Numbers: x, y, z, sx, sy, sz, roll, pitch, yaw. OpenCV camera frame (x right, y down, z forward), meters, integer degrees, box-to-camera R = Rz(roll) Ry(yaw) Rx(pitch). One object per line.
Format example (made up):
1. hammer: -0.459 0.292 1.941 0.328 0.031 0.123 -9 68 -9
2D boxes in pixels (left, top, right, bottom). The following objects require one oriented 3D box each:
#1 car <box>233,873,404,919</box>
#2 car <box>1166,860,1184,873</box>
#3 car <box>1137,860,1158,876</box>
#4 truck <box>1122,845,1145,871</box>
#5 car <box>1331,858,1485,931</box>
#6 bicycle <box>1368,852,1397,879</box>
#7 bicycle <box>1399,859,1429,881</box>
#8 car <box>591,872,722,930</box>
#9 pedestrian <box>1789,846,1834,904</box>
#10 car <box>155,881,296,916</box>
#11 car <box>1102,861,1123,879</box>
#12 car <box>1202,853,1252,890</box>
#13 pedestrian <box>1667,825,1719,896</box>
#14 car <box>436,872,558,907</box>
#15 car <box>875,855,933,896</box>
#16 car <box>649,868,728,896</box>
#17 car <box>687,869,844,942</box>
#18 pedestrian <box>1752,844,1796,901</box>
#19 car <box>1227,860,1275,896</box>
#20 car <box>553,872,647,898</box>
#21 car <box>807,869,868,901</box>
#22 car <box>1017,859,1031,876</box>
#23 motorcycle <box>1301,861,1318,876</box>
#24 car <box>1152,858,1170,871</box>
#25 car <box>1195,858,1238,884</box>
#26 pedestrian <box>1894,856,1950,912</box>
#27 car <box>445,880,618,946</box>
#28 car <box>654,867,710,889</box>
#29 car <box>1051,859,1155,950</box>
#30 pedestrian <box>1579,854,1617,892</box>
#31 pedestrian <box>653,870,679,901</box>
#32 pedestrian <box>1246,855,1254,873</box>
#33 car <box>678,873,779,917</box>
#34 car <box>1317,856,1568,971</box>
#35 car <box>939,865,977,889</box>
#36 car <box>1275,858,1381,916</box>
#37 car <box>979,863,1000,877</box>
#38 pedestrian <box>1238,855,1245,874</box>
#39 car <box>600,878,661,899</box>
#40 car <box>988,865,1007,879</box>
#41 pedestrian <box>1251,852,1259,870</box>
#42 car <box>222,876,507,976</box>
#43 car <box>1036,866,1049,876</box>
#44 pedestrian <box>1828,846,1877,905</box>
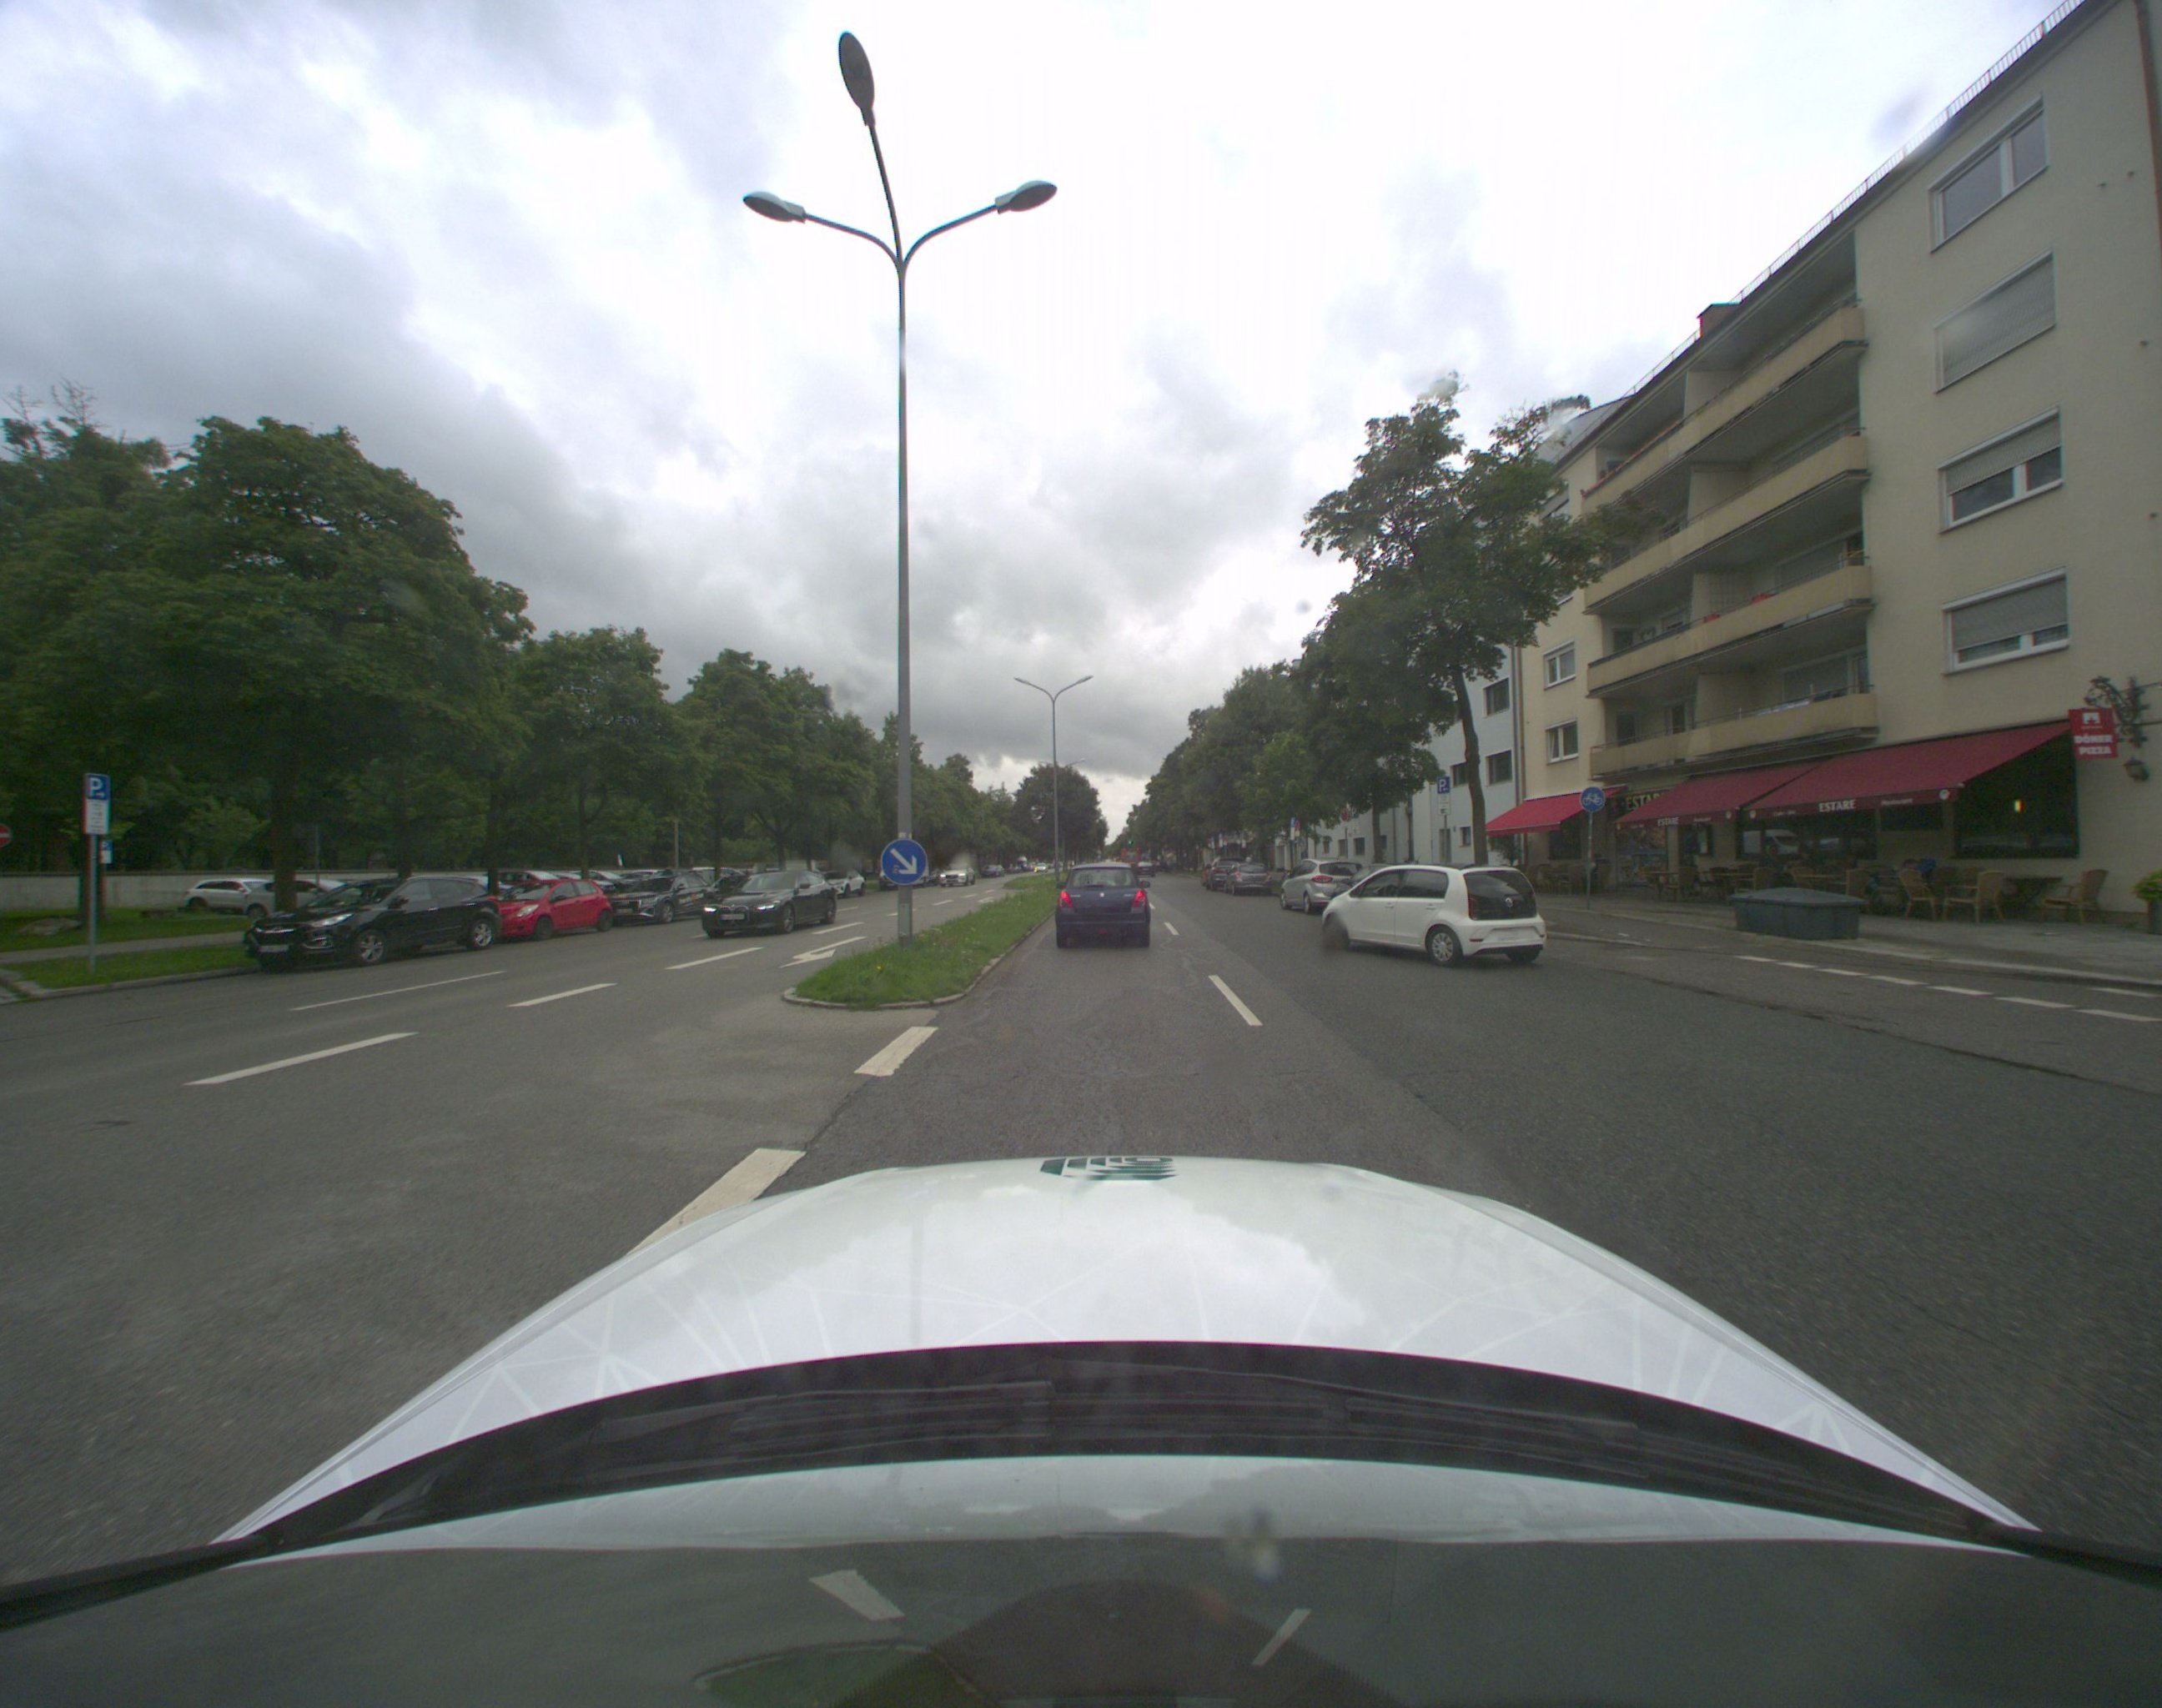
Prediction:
1. car: -26.546 1.452 28.478 3.979 1.442 1.997 -1 -1 -4
2. car: 12.588 1.616 109.440 1.986 1.643 4.335 -1 -1 2
3. car: 6.343 1.343 78.147 1.814 1.477 4.692 1 -1 2
4. truck: 7.631 0.637 119.647 3.029 3.557 13.684 -1 -1 3
5. car: 7.326 0.844 18.689 1.825 1.473 3.884 -1 -1 -3
6. bicycle: 16.795 0.625 45.457 0.700 1.407 2.594 -3 -1 2
7. bicycle: 16.780 0.808 41.131 0.619 1.046 2.196 -5 -1 2
8. car: -13.421 1.430 26.079 1.814 1.599 4.116 -1 -1 3
9. pedestrian: 16.276 0.456 18.146 0.536 1.268 0.487 -1 -1 1
10. car: -39.294 2.050 37.484 4.487 1.442 2.001 -1 -1 2
11. car: 2.667 1.329 69.558 1.712 1.501 4.302 -1 -1 2
12. car: 7.434 0.865 41.826 1.823 1.746 4.508 -1 -1 1
13. pedestrian: 17.064 0.185 22.726 0.869 1.929 0.757 -1 -1 -14
14. car: -26.317 1.596 36.824 3.979 1.442 1.997 -1 -1 -4
15. car: -12.345 1.440 57.269 2.131 2.644 7.109 -3 0 2
16. car: -24.152 1.691 50.195 3.970 1.570 1.816 -1 -1 3
17. car: -7.459 1.153 19.840 1.809 1.448 4.783 -2 -1 1
18. pedestrian: 16.476 0.437 19.362 0.536 1.339 0.552 -1 -1 1
19. car: 7.594 1.030 36.671 1.819 1.522 3.778 -1 -1 7
20. car: -25.894 1.643 43.931 3.980 1.258 1.687 -1 -1 -5
21. car: -12.854 1.639 43.287 1.815 1.528 4.299 -3 -2 1
22. car: -10.482 2.465 150.150 2.179 2.954 6.189 0 -1 0
23. motorcycle: 16.878 1.055 60.189 0.758 1.086 2.200 -2 -1 2
24. car: 10.007 1.295 101.830 1.986 1.452 4.002 -1 -1 2
25. car: 8.060 1.005 48.792 1.519 1.441 3.992 -1 -1 -6
26. pedestrian: 16.099 0.564 15.600 0.536 1.054 0.487 -1 -1 2
27. car: -13.999 1.451 21.036 1.815 1.479 3.810 -1 -2 1
28. car: -39.112 2.344 79.914 4.489 2.034 2.000 -1 -1 1
29. car: 0.471 0.876 15.834 1.745 1.505 4.003 -1 -1 3
30. pedestrian: 15.978 0.583 25.189 0.740 1.163 0.647 -1 -1 2
31. pedestrian: -20.567 1.570 40.403 0.791 1.495 0.856 -2 -1 2
32. pedestrian: 15.569 0.956 75.219 0.547 1.629 0.641 -3 -1 2
33. car: -13.456 1.530 31.358 1.813 1.409 4.005 -3 -1 4
34. car: 5.446 0.815 12.723 1.692 1.490 3.411 -1 -1 -20
35. car: -8.918 1.658 59.397 1.843 1.600 4.405 -3 -1 2
36. car: 7.188 0.901 24.165 1.823 1.522 4.524 -1 -1 1
37. car: -10.729 1.862 95.609 1.880 1.537 4.314 -4 -1 0
38. pedestrian: 14.868 0.939 75.248 0.498 1.733 0.733 -1 -1 2
39. car: -36.713 2.784 66.431 3.966 1.596 1.773 -1 -1 6
40. car: -10.360 2.255 100.974 1.632 1.537 4.316 -4 -1 2
41. pedestrian: 16.168 0.678 75.748 0.539 1.640 0.725 -1 -1 2
42. car: -13.856 1.298 16.174 1.815 1.700 4.239 -1 -2 1
43. car: -6.105 2.691 129.557 1.756 1.537 4.313 -4 -1 0
44. pedestrian: 16.244 0.450 17.160 0.536 1.214 0.487 -1 -1 2
